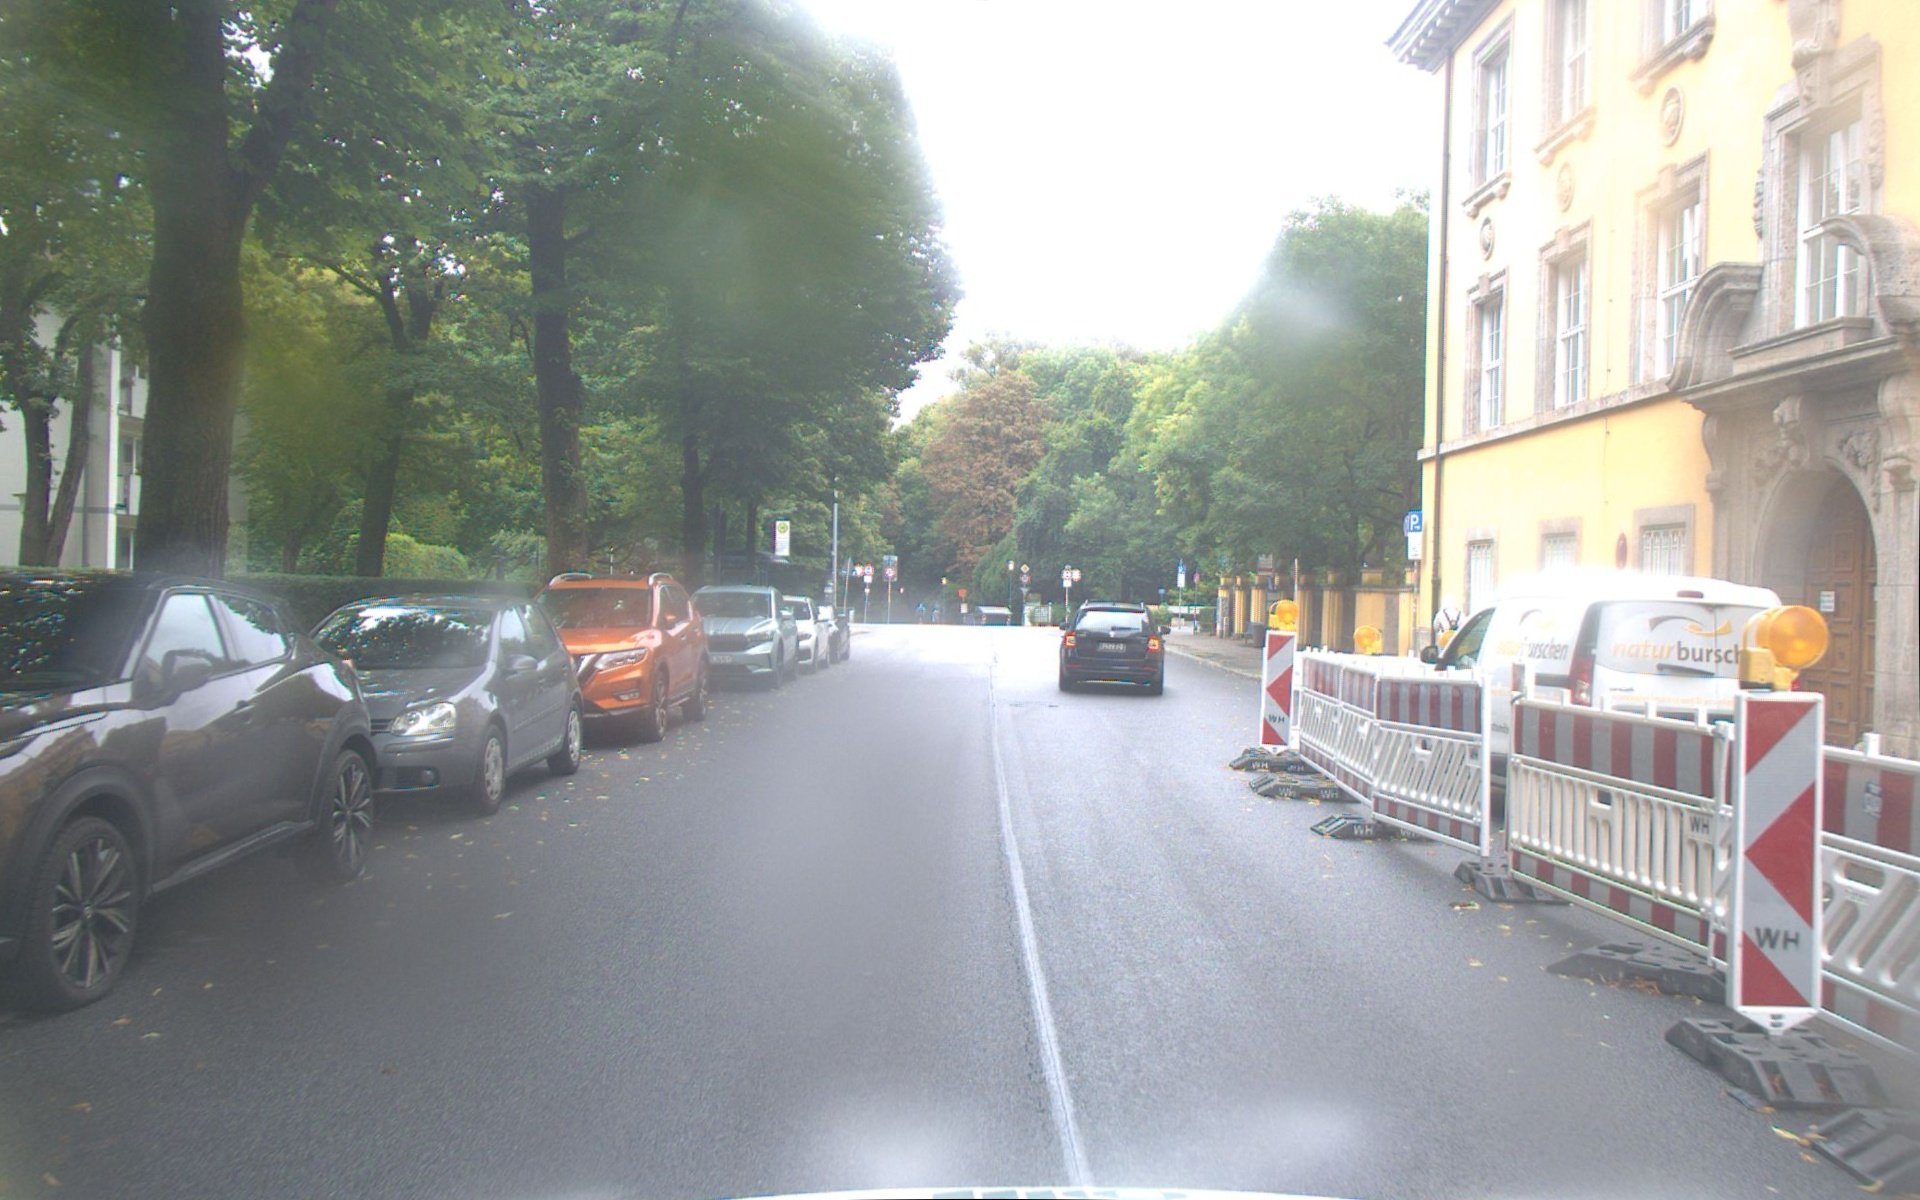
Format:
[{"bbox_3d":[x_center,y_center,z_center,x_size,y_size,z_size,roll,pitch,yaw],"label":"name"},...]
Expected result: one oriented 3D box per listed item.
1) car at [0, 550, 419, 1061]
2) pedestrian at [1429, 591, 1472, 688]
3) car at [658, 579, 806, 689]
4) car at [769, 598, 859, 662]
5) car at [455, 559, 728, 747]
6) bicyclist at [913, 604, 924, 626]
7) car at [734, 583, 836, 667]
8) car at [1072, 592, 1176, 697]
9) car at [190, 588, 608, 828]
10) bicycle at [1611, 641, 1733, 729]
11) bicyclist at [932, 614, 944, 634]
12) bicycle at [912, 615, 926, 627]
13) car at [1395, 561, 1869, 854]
[{"bbox_3d":[-3.893,0.614,6.999,1.750,1.602,4.485,1,0,-1],"label":"car"},{"bbox_3d":[8.493,0.681,28.654,0.548,1.666,0.571,-1,0,0],"label":"pedestrian"},{"bbox_3d":[-3.667,0.516,27.331,1.778,1.629,4.513,1,0,0],"label":"car"},{"bbox_3d":[-3.315,0.652,38.114,1.544,1.366,4.045,1,0,2],"label":"car"},{"bbox_3d":[-3.850,0.508,18.136,1.834,1.758,4.641,1,0,1],"label":"car"},{"bbox_3d":[-2.967,1.069,118.688,0.668,1.530,0.899,1,0,-9],"label":"bicyclist"},{"bbox_3d":[-3.408,0.475,32.800,1.545,1.523,4.199,1,0,0],"label":"car"},{"bbox_3d":[2.715,0.709,28.097,1.544,1.611,4.046,1,0,3],"label":"car"},{"bbox_3d":[-3.909,0.655,12.322,1.692,1.447,4.250,1,0,-1],"label":"car"},{"bbox_3d":[9.146,1.065,21.327,0.666,1.024,2.057,1,0,0],"label":"bicycle"},{"bbox_3d":[-1.373,1.527,105.015,0.668,1.208,0.480,1,0,-10],"label":"bicyclist"},{"bbox_3d":[-2.943,1.510,118.572,0.667,0.844,2.105,1,-1,-9],"label":"bicycle"},{"bbox_3d":[4.748,0.694,12.434,1.704,1.780,4.354,1,-1,-1],"label":"car"}]
